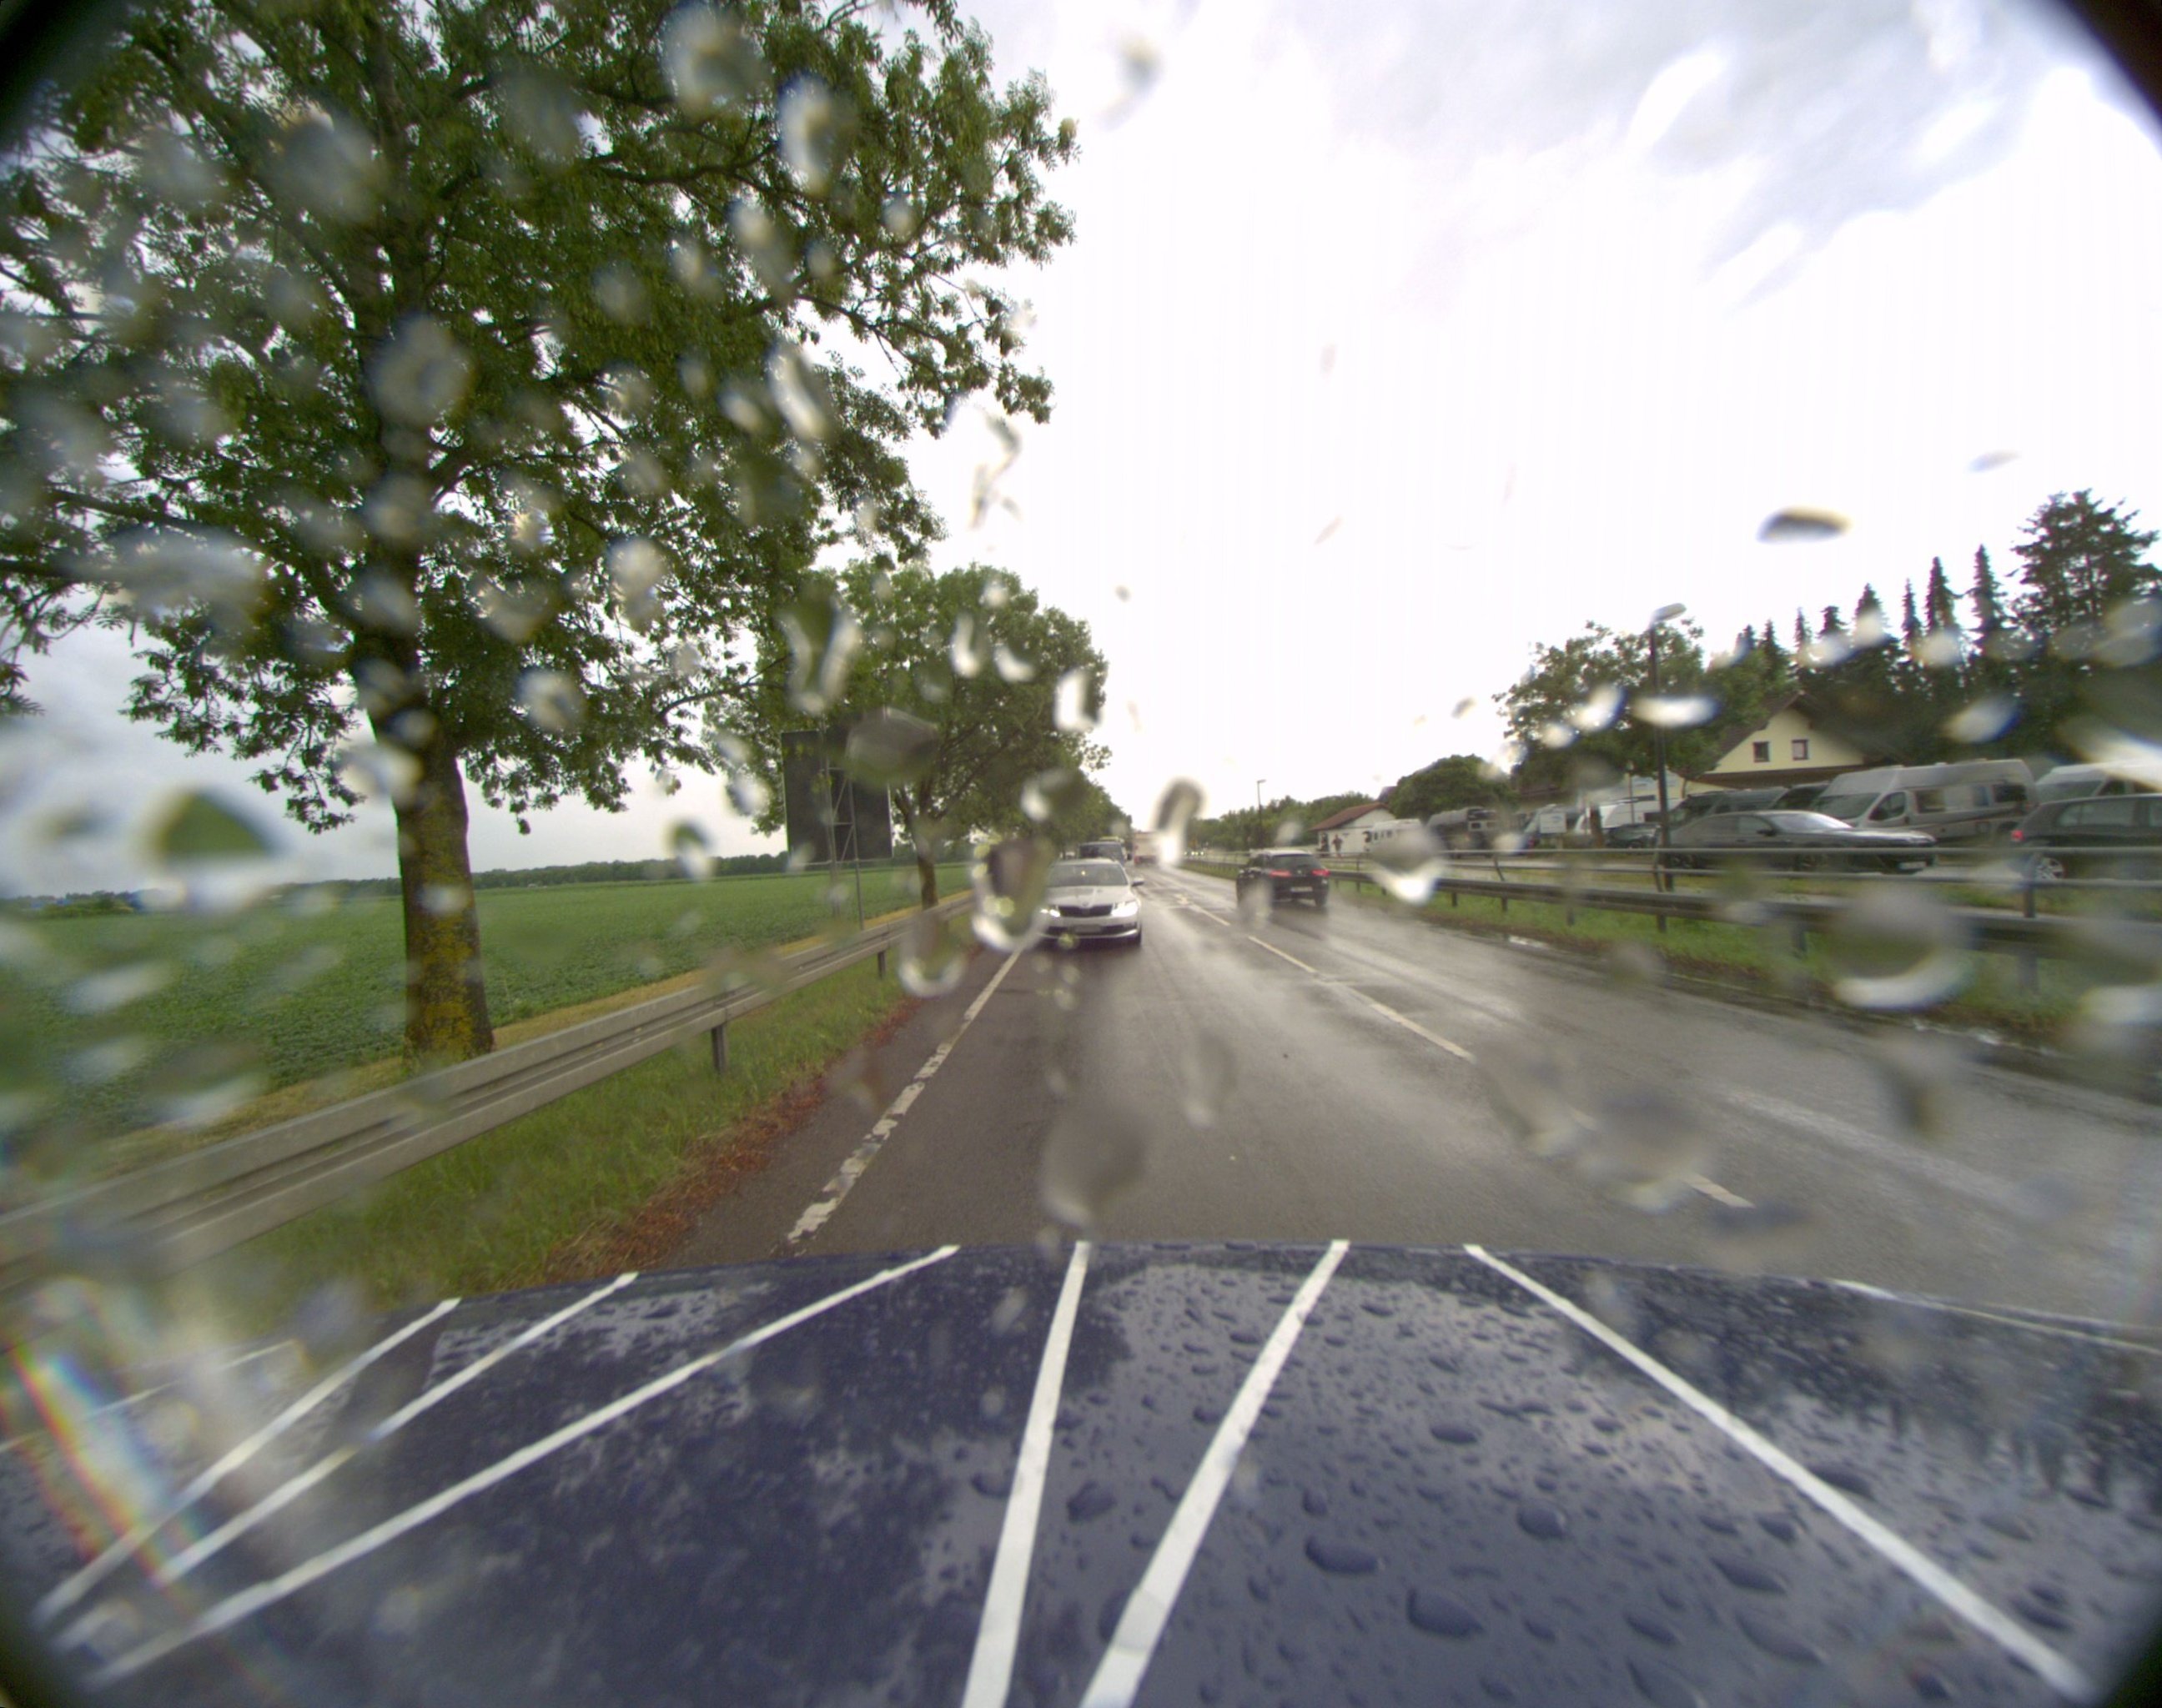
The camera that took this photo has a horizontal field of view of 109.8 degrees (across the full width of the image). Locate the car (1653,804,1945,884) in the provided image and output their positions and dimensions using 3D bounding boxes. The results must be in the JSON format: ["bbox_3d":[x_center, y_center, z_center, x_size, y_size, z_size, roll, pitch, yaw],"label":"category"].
[{"bbox_3d":[15.714,-0.199,17.131,1.519,1.482,5.120,-2,0,-4],"label":"car"}]

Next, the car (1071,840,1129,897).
[{"bbox_3d":[0.671,0.474,27.477,1.903,1.884,4.000,-1,0,1],"label":"car"}]

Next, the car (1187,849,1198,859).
[{"bbox_3d":[23.134,-0.093,157.317,1.683,2.002,3.999,-2,1,1],"label":"car"}]

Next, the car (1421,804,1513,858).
[{"bbox_3d":[22.016,-1.263,43.678,2.389,2.747,5.573,-4,0,1],"label":"car"}]

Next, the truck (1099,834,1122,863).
[{"bbox_3d":[3.987,-0.741,101.395,2.751,3.548,8.387,-3,0,2],"label":"truck"}]

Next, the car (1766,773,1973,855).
[{"bbox_3d":[27.311,-1.351,26.446,5.105,2.445,2.000,-4,1,-1],"label":"car"}]

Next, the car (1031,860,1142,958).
[{"bbox_3d":[0.117,0.879,13.849,1.705,1.438,4.000,-1,0,1],"label":"car"}]

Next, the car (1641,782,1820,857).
[{"bbox_3d":[25.208,-1.302,29.611,5.196,2.487,2.000,-4,1,-1],"label":"car"}]

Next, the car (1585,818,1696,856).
[{"bbox_3d":[25.759,-0.770,35.035,3.894,1.487,1.540,-4,0,1],"label":"car"}]

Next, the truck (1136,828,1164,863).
[{"bbox_3d":[7.142,-0.844,79.539,2.582,3.432,9.557,-1,0,3],"label":"truck"}]

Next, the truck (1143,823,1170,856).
[{"bbox_3d":[12.178,-2.337,123.317,3.256,5.004,7.783,-4,0,1],"label":"truck"}]

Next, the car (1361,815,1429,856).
[{"bbox_3d":[21.801,-1.250,53.038,2.242,2.565,6.019,-4,0,2],"label":"car"}]

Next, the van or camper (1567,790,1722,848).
[{"bbox_3d":[29.840,-1.836,40.405,6.239,2.576,2.562,-4,1,0],"label":"van or camper"}]

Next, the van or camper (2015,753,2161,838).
[{"bbox_3d":[35.573,-2.025,25.600,5.820,2.575,2.000,-4,1,-2],"label":"van or camper"}]

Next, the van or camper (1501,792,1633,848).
[{"bbox_3d":[28.434,-1.932,44.581,6.068,2.785,2.434,-4,1,0],"label":"van or camper"}]

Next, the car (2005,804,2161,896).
[{"bbox_3d":[16.115,-0.079,10.726,1.286,1.323,3.897,-2,0,-3],"label":"car"}]

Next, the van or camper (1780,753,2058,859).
[{"bbox_3d":[24.734,-1.365,22.591,5.890,2.662,2.081,-4,1,0],"label":"van or camper"}]

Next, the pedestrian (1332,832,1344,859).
[{"bbox_3d":[16.471,-0.549,48.708,0.516,1.701,0.650,-3,1,10],"label":"pedestrian"}]

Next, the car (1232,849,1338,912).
[{"bbox_3d":[5.239,0.623,20.062,1.718,1.442,4.111,-2,0,1],"label":"car"}]
